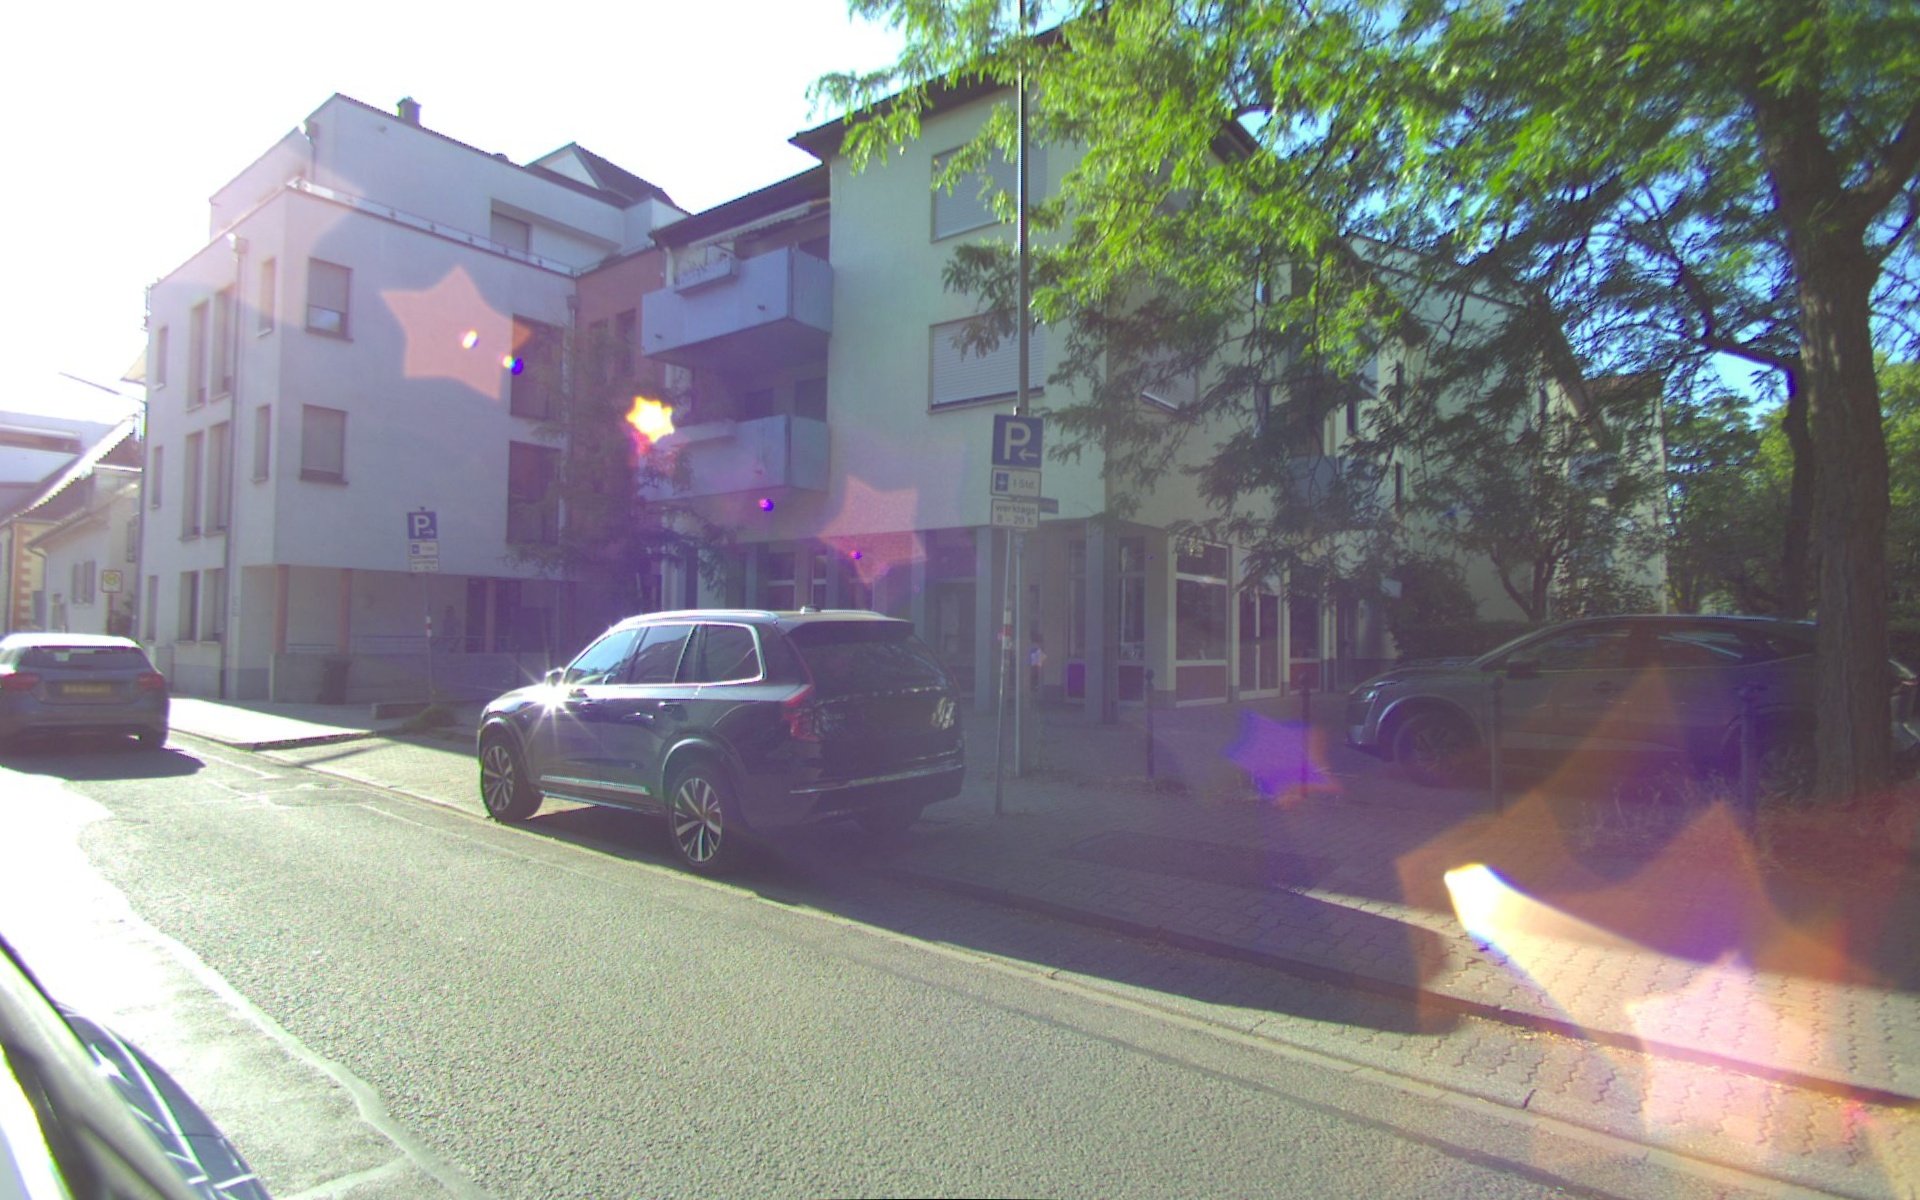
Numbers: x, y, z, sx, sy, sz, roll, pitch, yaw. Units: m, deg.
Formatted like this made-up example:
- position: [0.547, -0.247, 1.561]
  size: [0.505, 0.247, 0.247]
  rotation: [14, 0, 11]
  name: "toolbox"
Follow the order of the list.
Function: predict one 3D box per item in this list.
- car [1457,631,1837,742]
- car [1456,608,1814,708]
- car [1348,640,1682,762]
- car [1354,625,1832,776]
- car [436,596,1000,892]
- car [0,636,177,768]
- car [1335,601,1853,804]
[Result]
- position: [10.890, 1.274, 16.347]
  size: [4.826, 1.487, 1.974]
  rotation: [-1, -1, 39]
  name: "car"
- position: [12.023, 1.039, 18.306]
  size: [5.184, 1.572, 1.918]
  rotation: [-2, -6, 41]
  name: "car"
- position: [7.665, 1.315, 14.192]
  size: [3.813, 1.451, 1.667]
  rotation: [-2, -4, 43]
  name: "car"
- position: [7.050, 1.040, 11.713]
  size: [4.422, 1.452, 1.562]
  rotation: [-1, -3, 35]
  name: "car"
- position: [-2.255, 0.884, 8.317]
  size: [5.098, 1.718, 1.911]
  rotation: [-2, -1, 41]
  name: "car"
- position: [-11.998, 1.232, 13.304]
  size: [3.995, 1.478, 1.789]
  rotation: [-1, -3, 39]
  name: "car"
- position: [5.394, 0.785, 8.913]
  size: [3.639, 1.419, 1.504]
  rotation: [-2, -4, 43]
  name: "car"
